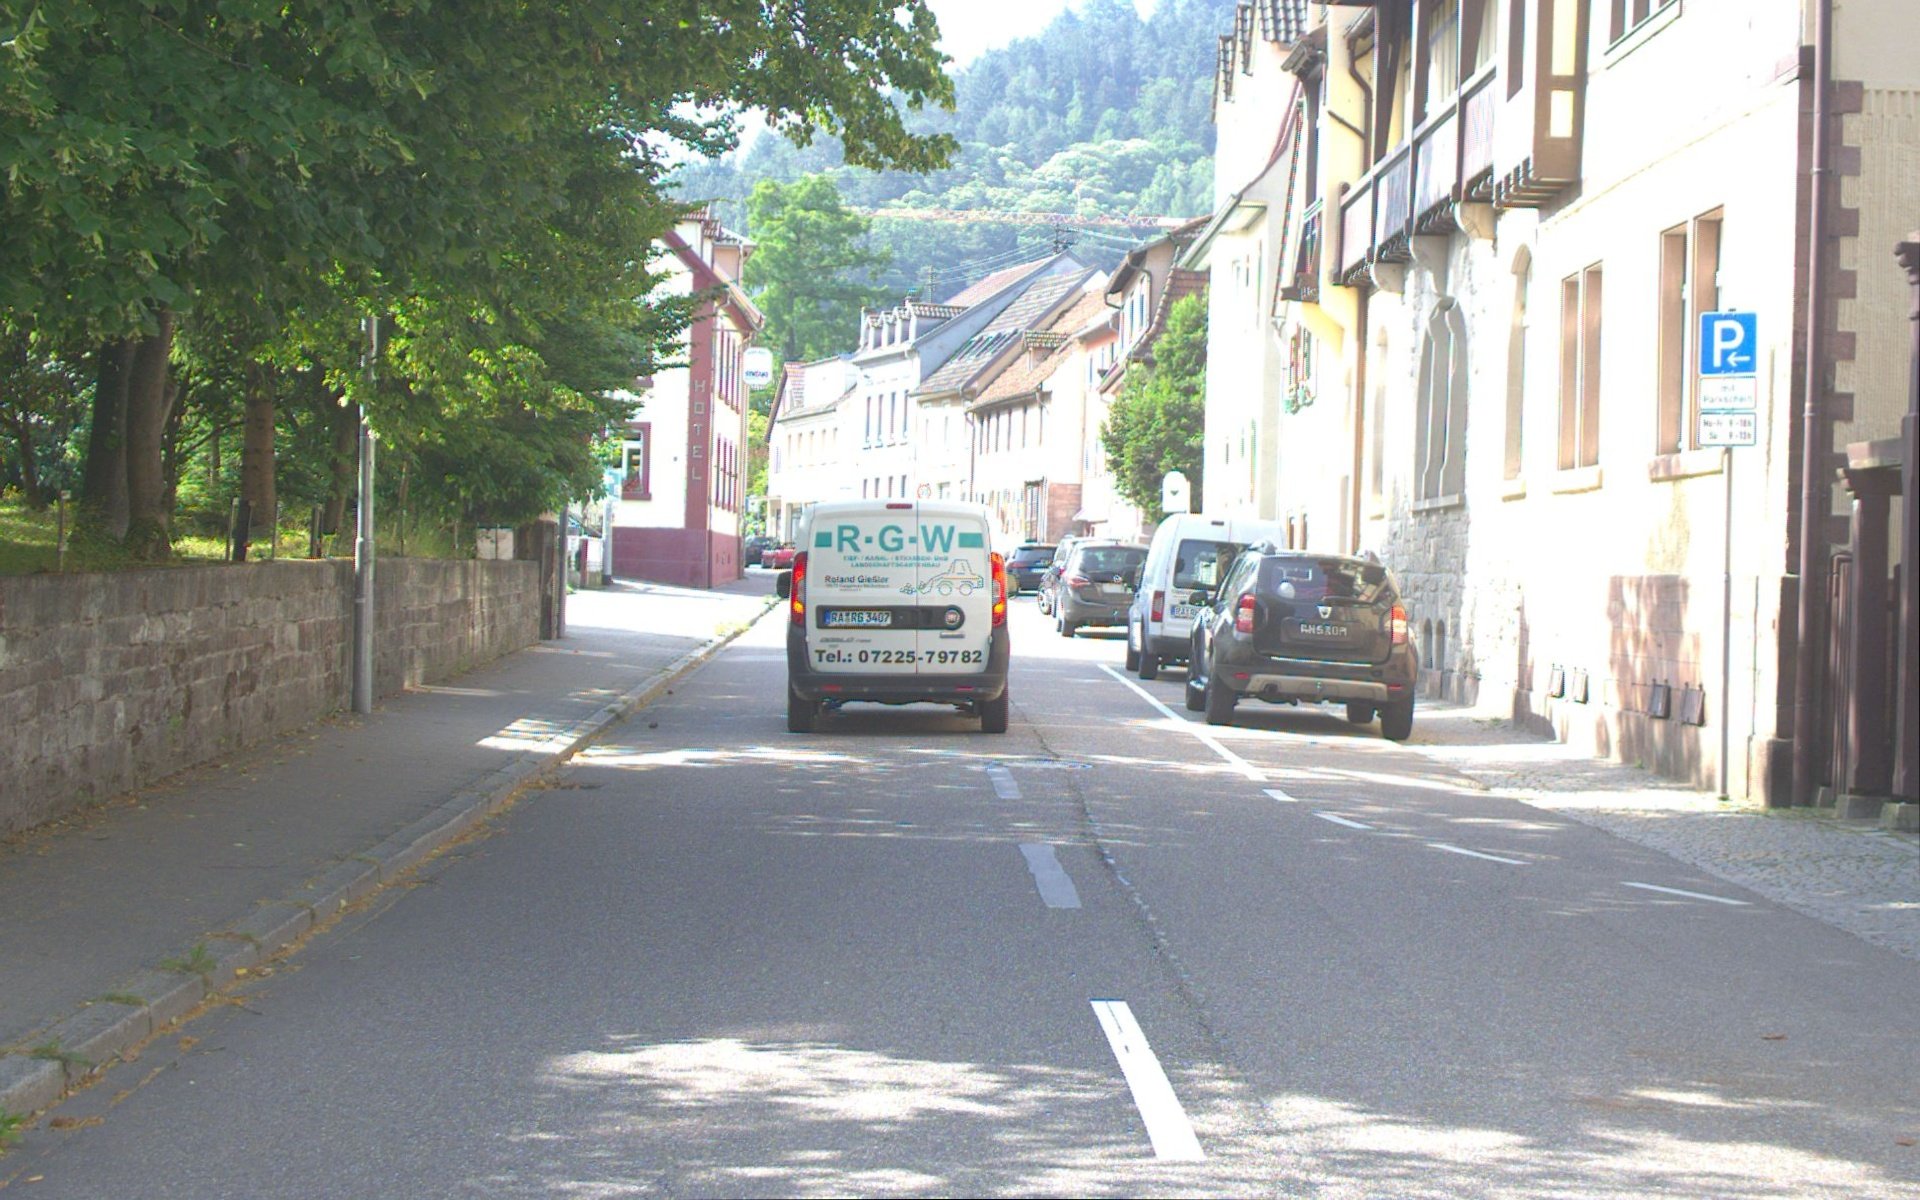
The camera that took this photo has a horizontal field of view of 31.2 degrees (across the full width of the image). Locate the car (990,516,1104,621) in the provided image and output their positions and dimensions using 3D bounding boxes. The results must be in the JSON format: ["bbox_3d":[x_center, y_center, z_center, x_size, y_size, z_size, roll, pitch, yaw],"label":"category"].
[{"bbox_3d":[1.742,-0.655,70.075,1.993,2.007,4.001,2,1,-3],"label":"car"}]

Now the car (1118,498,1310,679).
[{"bbox_3d":[3.030,-0.160,41.751,1.871,2.007,4.000,3,1,-1],"label":"car"}]

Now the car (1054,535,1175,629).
[{"bbox_3d":[2.574,-0.334,58.146,1.669,1.503,4.001,1,1,-2],"label":"car"}]

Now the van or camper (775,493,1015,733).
[{"bbox_3d":[-0.561,0.038,28.577,1.828,1.838,4.189,0,2,-2],"label":"van or camper"}]

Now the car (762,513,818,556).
[{"bbox_3d":[-7.484,-2.884,151.226,1.771,1.792,4.001,2,1,-12],"label":"car"}]

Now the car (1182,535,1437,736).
[{"bbox_3d":[3.127,0.270,31.512,1.810,1.591,3.927,4,1,0],"label":"car"}]

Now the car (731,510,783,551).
[{"bbox_3d":[-9.329,-3.184,157.657,1.771,1.792,4.001,2,1,-12],"label":"car"}]
